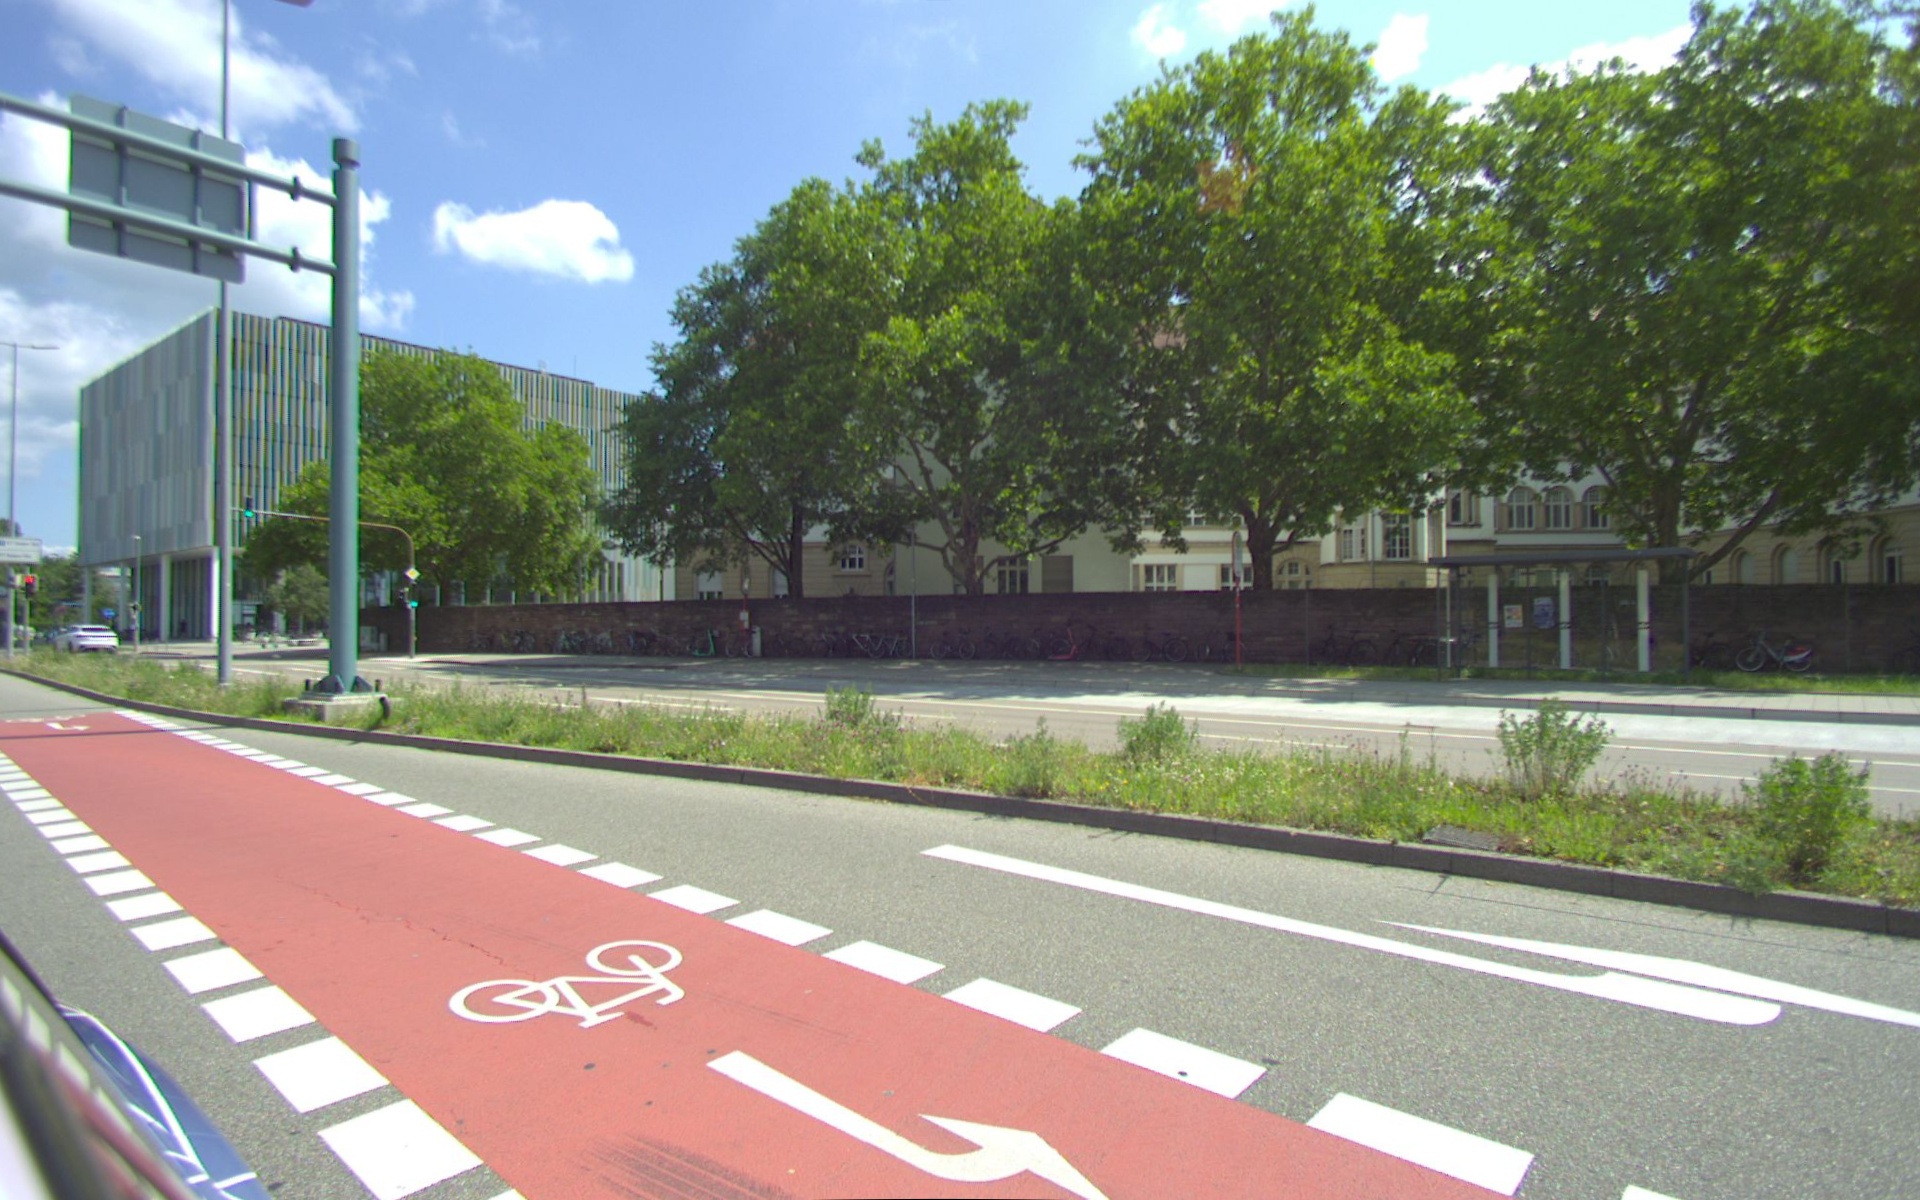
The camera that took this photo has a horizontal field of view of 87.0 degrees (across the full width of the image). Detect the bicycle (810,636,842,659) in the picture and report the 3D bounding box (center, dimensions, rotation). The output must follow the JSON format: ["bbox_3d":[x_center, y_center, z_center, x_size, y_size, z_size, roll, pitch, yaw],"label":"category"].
[{"bbox_3d":[-4.887,1.737,36.845,1.231,0.837,0.262,-1,-2,30],"label":"bicycle"}]

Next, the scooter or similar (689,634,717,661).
[{"bbox_3d":[-10.141,1.876,39.906,1.133,1.028,0.264,-1,-2,19],"label":"scooter or similar"}]

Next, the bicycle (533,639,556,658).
[{"bbox_3d":[-18.592,2.158,45.297,1.230,0.837,0.262,-1,-2,29],"label":"bicycle"}]

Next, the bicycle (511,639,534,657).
[{"bbox_3d":[-19.969,2.182,46.185,1.230,0.837,0.262,-1,-2,29],"label":"bicycle"}]

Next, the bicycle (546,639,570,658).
[{"bbox_3d":[-17.479,2.102,43.953,1.230,0.837,0.262,-1,-2,29],"label":"bicycle"}]

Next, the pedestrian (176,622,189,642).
[{"bbox_3d":[-78.439,3.205,102.087,0.994,2.029,0.853,-2,-2,40],"label":"pedestrian"}]

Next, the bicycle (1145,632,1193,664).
[{"bbox_3d":[6.403,1.473,31.025,1.385,0.972,0.263,-1,-2,20],"label":"bicycle"}]

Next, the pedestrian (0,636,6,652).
[{"bbox_3d":[-101.168,4.644,106.600,0.994,1.669,0.853,-2,-2,39],"label":"pedestrian"}]

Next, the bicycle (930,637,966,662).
[{"bbox_3d":[-0.415,1.667,34.179,1.230,0.837,0.262,-1,-2,28],"label":"bicycle"}]

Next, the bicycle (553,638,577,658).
[{"bbox_3d":[-17.403,2.106,44.548,1.230,0.837,0.262,-1,-2,29],"label":"bicycle"}]

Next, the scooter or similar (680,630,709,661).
[{"bbox_3d":[-10.221,1.758,38.953,1.230,1.199,0.262,-1,-2,29],"label":"scooter or similar"}]

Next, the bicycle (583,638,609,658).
[{"bbox_3d":[-15.314,2.000,42.569,1.230,0.837,0.262,-1,-2,29],"label":"bicycle"}]

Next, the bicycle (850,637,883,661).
[{"bbox_3d":[-3.318,1.750,35.900,1.231,0.837,0.262,-1,-2,30],"label":"bicycle"}]

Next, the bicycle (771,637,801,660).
[{"bbox_3d":[-6.467,1.806,37.554,1.231,0.837,0.262,-1,-2,30],"label":"bicycle"}]

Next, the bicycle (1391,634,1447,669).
[{"bbox_3d":[12.867,1.437,28.407,1.384,0.972,0.263,-1,-2,18],"label":"bicycle"}]

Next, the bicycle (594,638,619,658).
[{"bbox_3d":[-14.981,2.012,42.868,1.231,0.837,0.262,-1,-2,30],"label":"bicycle"}]

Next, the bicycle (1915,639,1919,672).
[{"bbox_3d":[24.430,1.355,24.596,1.734,0.823,0.382,-1,-2,18],"label":"bicycle"}]

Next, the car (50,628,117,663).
[{"bbox_3d":[-46.143,2.365,53.248,4.508,1.724,1.973,-2,-2,40],"label":"car"}]

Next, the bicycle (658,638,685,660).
[{"bbox_3d":[-11.556,1.962,40.563,1.231,0.837,0.262,-1,-2,30],"label":"bicycle"}]

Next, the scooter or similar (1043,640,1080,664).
[{"bbox_3d":[3.181,1.625,31.796,1.133,0.734,0.264,-1,-2,18],"label":"scooter or similar"}]

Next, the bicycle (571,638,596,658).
[{"bbox_3d":[-16.264,2.078,43.713,1.231,0.837,0.262,-1,-2,30],"label":"bicycle"}]

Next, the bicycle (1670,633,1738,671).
[{"bbox_3d":[19.236,1.343,26.184,1.384,0.972,0.263,-1,-2,18],"label":"bicycle"}]

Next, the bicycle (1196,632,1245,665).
[{"bbox_3d":[7.809,1.466,30.405,1.389,0.972,0.262,-1,-2,28],"label":"bicycle"}]

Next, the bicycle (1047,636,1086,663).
[{"bbox_3d":[3.412,1.590,32.446,1.230,0.837,0.262,-1,-2,28],"label":"bicycle"}]

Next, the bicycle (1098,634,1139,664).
[{"bbox_3d":[4.955,1.519,31.599,1.230,0.915,0.262,-1,-2,28],"label":"bicycle"}]

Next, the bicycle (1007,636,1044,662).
[{"bbox_3d":[2.135,1.607,33.058,1.230,0.837,0.262,-1,-2,28],"label":"bicycle"}]

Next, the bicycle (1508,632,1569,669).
[{"bbox_3d":[15.633,1.366,27.377,1.384,0.972,0.263,-1,-2,18],"label":"bicycle"}]

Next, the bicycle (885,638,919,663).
[{"bbox_3d":[-2.012,1.747,35.105,1.231,0.837,0.262,-1,-2,30],"label":"bicycle"}]

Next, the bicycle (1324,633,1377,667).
[{"bbox_3d":[11.182,1.424,29.021,1.384,0.972,0.263,-1,-2,18],"label":"bicycle"}]

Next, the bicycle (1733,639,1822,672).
[{"bbox_3d":[20.747,1.403,25.710,1.734,0.823,0.327,-1,-2,18],"label":"bicycle"}]

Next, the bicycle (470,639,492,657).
[{"bbox_3d":[-22.689,2.277,47.946,1.231,0.837,0.262,-1,-2,30],"label":"bicycle"}]

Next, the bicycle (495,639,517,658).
[{"bbox_3d":[-21.063,2.248,46.961,1.231,0.837,0.262,-1,-2,30],"label":"bicycle"}]

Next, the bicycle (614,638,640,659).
[{"bbox_3d":[-13.884,2.023,42.203,1.231,0.837,0.262,-1,-2,30],"label":"bicycle"}]

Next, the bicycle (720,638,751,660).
[{"bbox_3d":[-8.643,1.882,38.938,1.226,0.837,0.263,-1,-2,19],"label":"bicycle"}]

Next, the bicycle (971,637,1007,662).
[{"bbox_3d":[0.963,1.650,33.707,1.230,0.837,0.262,-1,-2,28],"label":"bicycle"}]

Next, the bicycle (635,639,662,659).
[{"bbox_3d":[-12.754,2.002,41.426,1.231,0.837,0.262,-1,-2,30],"label":"bicycle"}]
